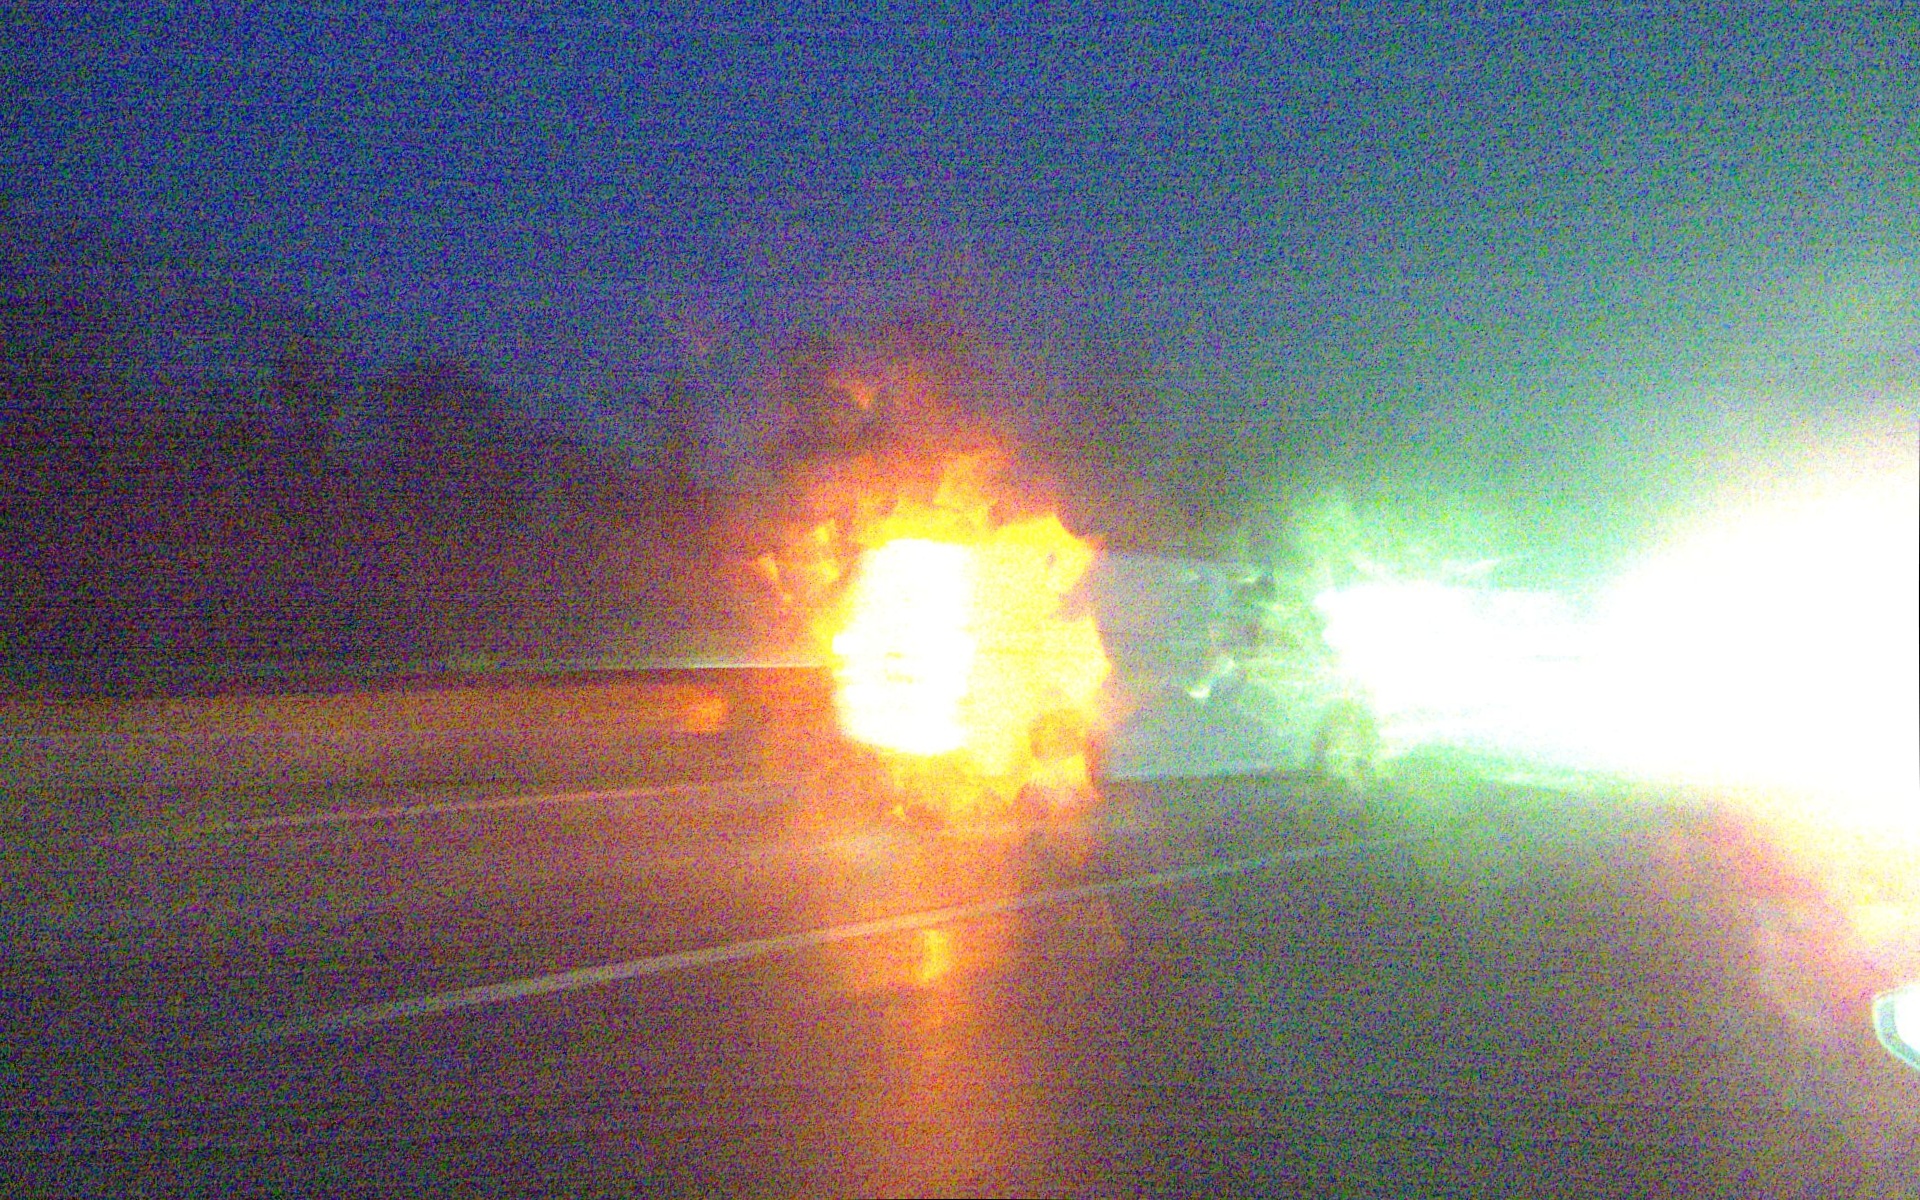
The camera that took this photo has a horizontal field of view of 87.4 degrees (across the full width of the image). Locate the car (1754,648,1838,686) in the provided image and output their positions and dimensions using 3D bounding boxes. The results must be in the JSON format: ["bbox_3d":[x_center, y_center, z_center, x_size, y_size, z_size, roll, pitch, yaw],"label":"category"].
[{"bbox_3d":[36.981,2.922,44.410,3.955,1.533,1.648,2,-1,-31],"label":"car"}]

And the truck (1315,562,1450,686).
[{"bbox_3d":[20.433,1.164,48.547,5.816,5.666,3.219,2,0,-34],"label":"truck"}]

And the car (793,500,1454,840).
[{"bbox_3d":[1.577,0.502,8.645,5.564,2.132,2.112,1,-1,-31],"label":"car"}]

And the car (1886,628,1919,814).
[{"bbox_3d":[9.552,0.982,8.587,4.205,1.450,1.645,1,0,-36],"label":"car"}]

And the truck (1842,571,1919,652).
[{"bbox_3d":[60.469,0.799,64.661,6.405,4.974,3.769,2,0,-31],"label":"truck"}]

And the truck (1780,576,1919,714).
[{"bbox_3d":[17.653,0.808,18.136,5.798,2.230,2.840,2,-1,-34],"label":"truck"}]

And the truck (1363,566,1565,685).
[{"bbox_3d":[26.561,1.389,52.513,12.653,5.666,3.222,2,0,-32],"label":"truck"}]
